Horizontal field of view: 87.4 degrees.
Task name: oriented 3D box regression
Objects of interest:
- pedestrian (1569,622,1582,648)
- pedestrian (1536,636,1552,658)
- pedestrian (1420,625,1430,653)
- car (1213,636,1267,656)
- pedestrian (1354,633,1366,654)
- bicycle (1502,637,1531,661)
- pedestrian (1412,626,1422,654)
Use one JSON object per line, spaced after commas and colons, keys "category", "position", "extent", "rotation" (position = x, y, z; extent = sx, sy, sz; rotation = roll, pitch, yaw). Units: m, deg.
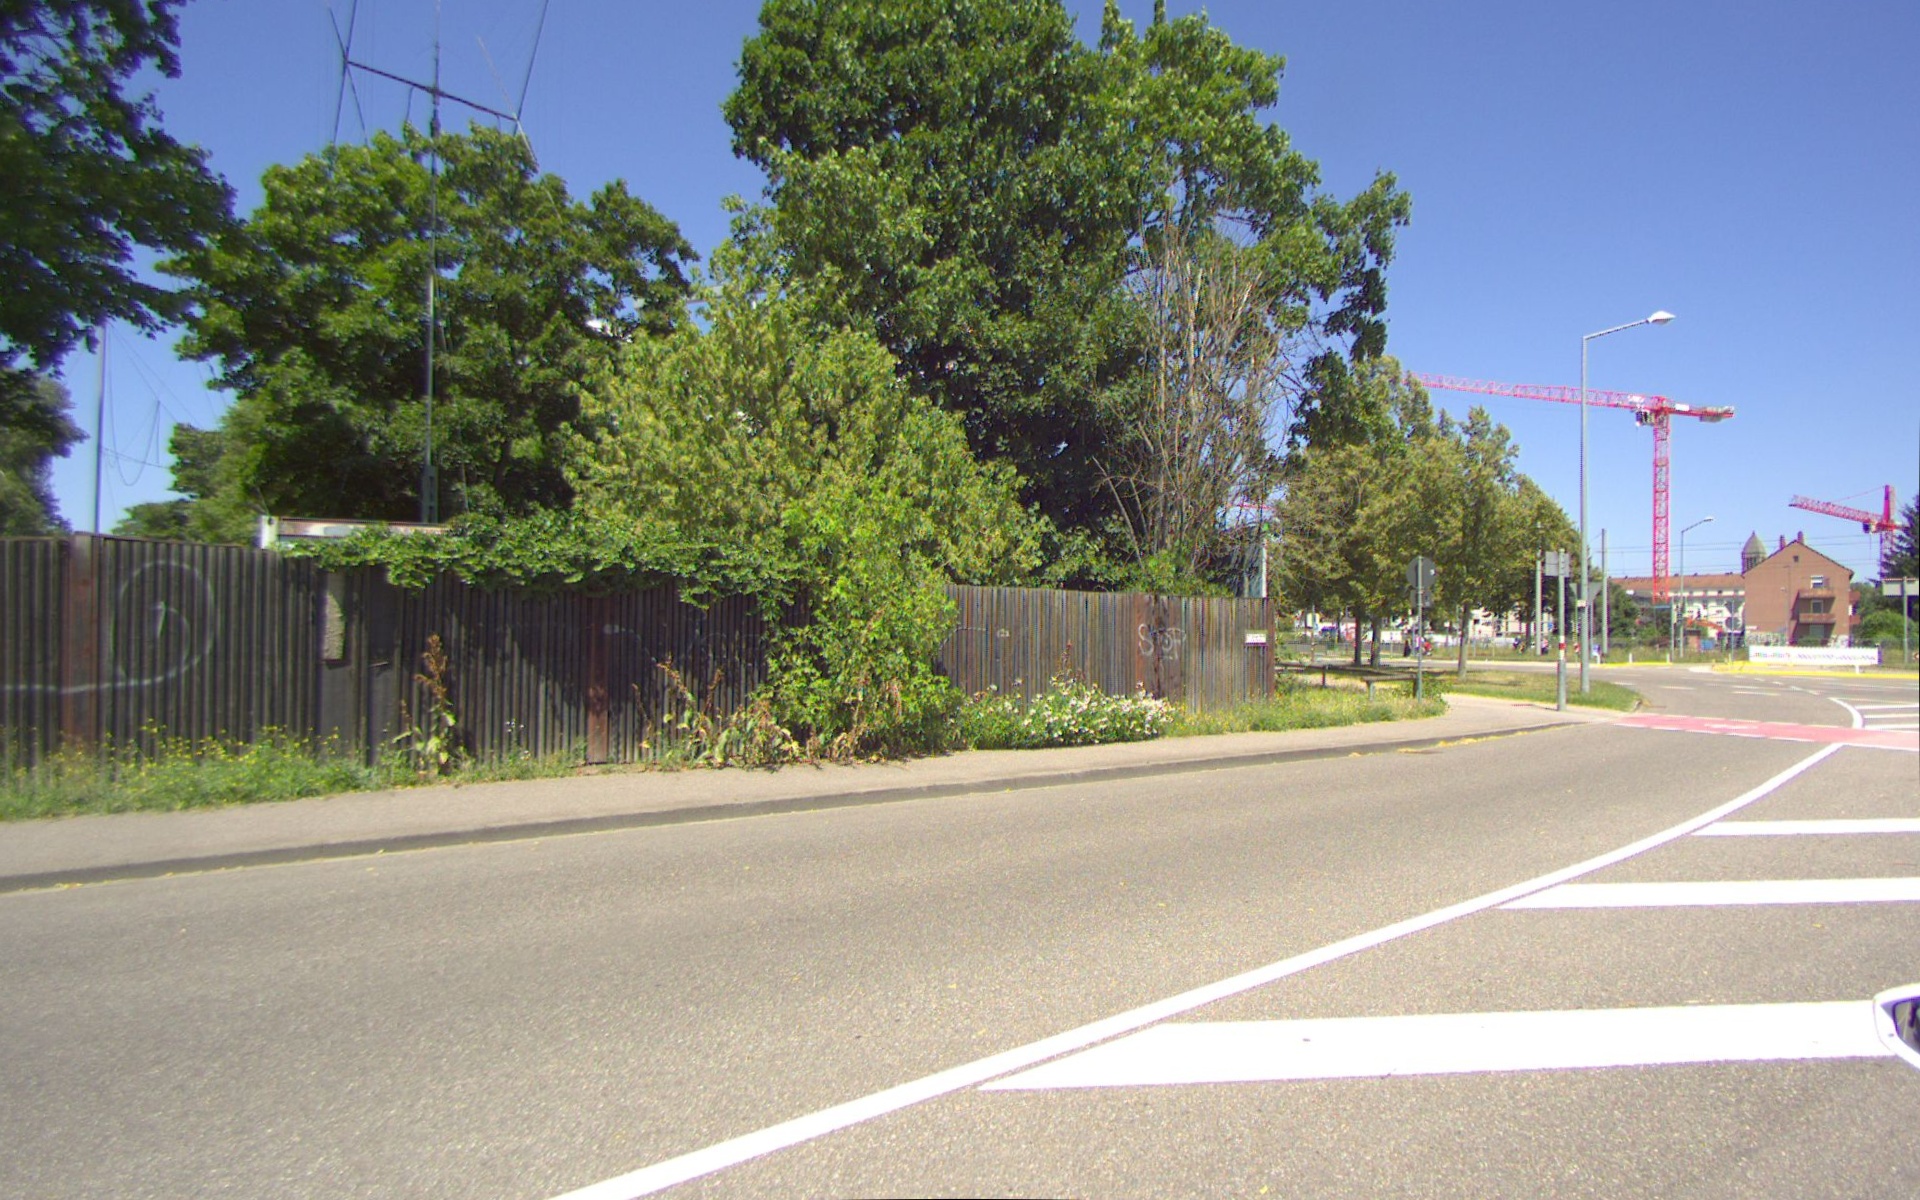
{"category": "pedestrian", "position": [48.587, 2.774, 79.262], "extent": [0.588, 2.040, 0.598], "rotation": [2, 0, -30]}
{"category": "pedestrian", "position": [46.378, 3.711, 79.814], "extent": [0.749, 1.661, 0.778], "rotation": [2, 0, -17]}
{"category": "pedestrian", "position": [33.080, 2.771, 71.399], "extent": [0.617, 1.960, 0.646], "rotation": [0, -1, 26]}
{"category": "car", "position": [19.608, 3.236, 70.425], "extent": [1.719, 1.228, 3.541], "rotation": [2, -1, -28]}
{"category": "pedestrian", "position": [27.169, 2.930, 68.268], "extent": [0.590, 1.425, 0.540], "rotation": [1, -2, -27]}
{"category": "bicycle", "position": [41.862, 3.669, 75.611], "extent": [2.051, 1.707, 0.558], "rotation": [2, 0, -15]}
{"category": "pedestrian", "position": [32.312, 2.838, 70.986], "extent": [0.617, 1.960, 0.646], "rotation": [0, -1, 26]}
